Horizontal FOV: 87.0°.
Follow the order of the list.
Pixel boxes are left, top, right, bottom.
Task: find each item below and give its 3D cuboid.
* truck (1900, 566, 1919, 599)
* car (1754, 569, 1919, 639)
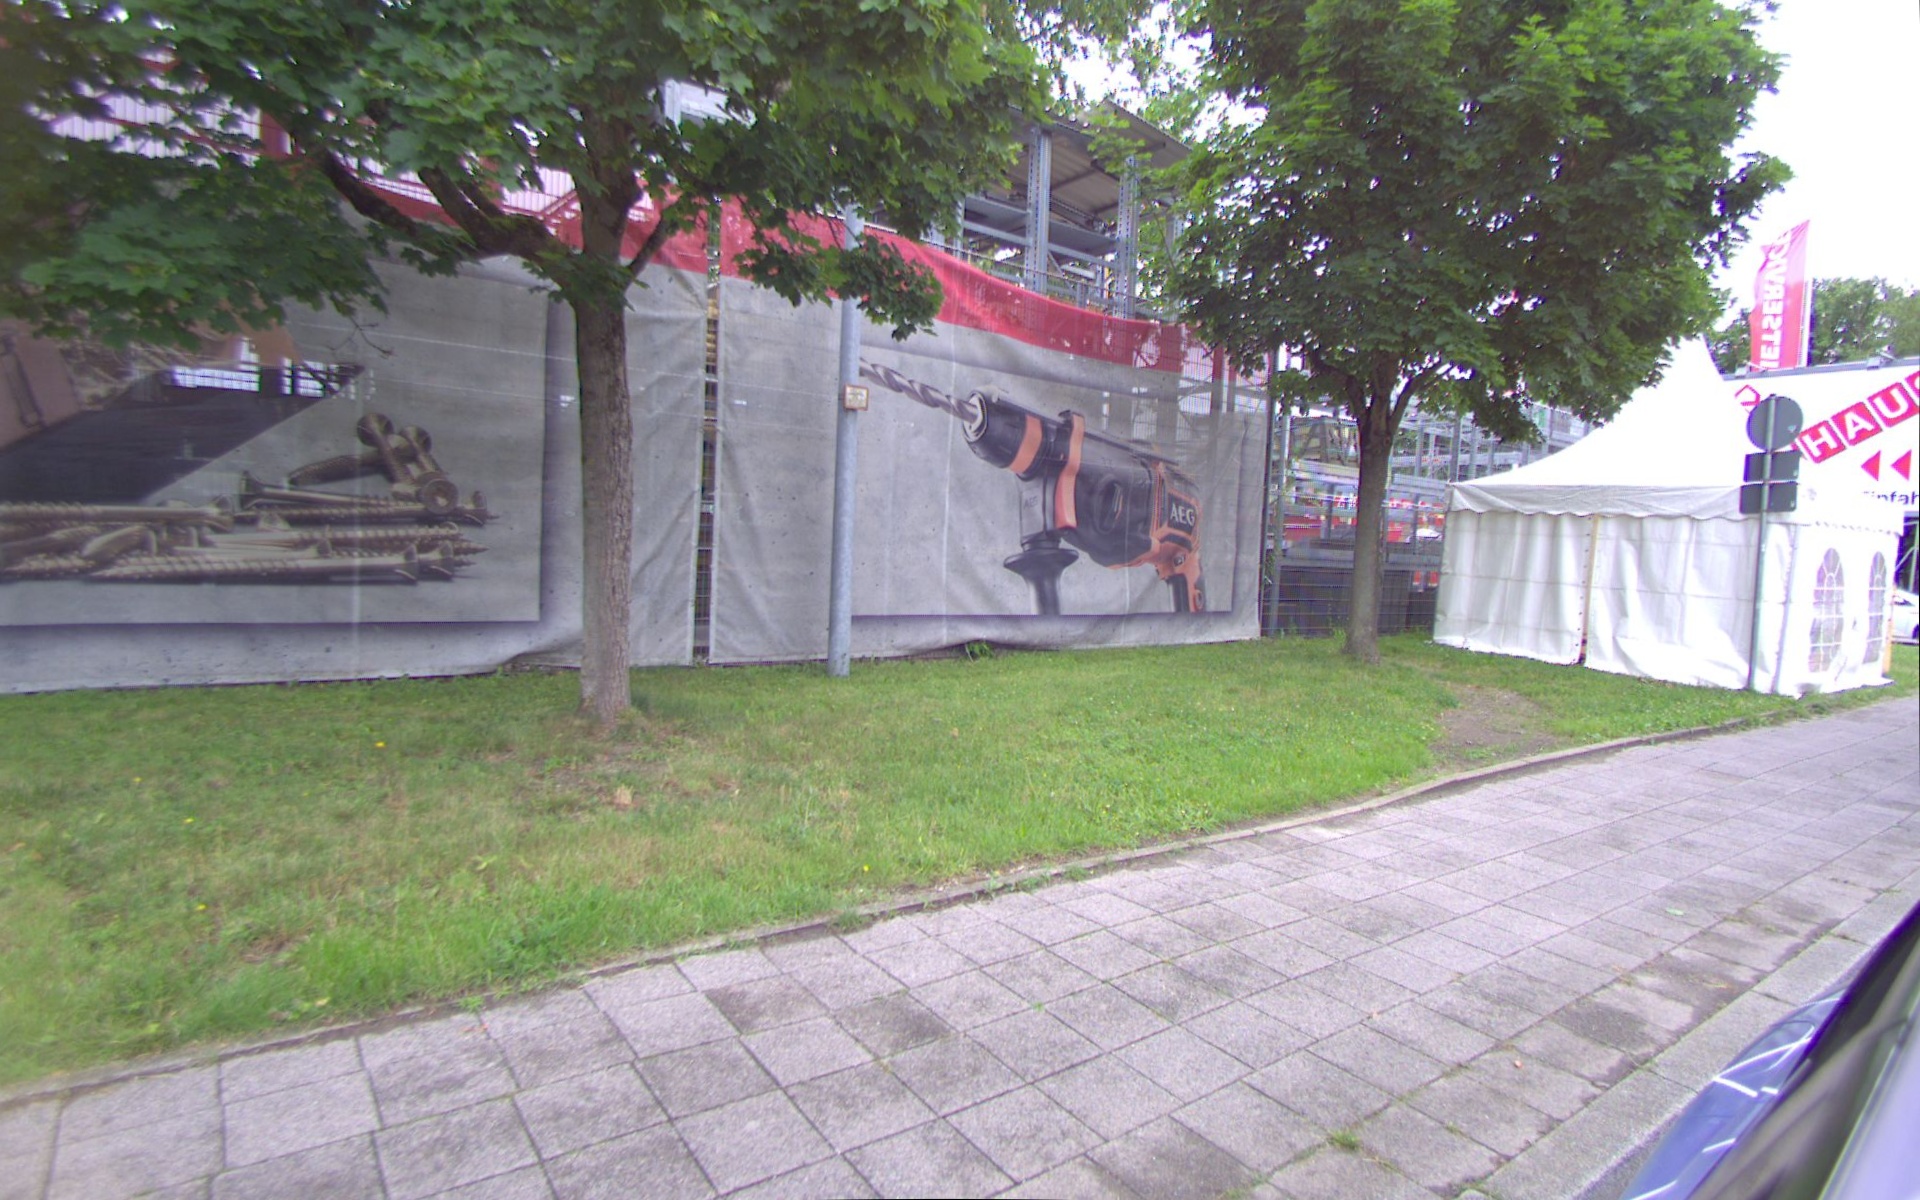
[{"bbox_3d":[73.795,-1.241,76.154,3.928,2.425,1.999,3,3,4],"label":"truck"},{"bbox_3d":[22.082,0.078,24.166,1.902,1.445,4.499,-1,4,-34],"label":"car"}]
